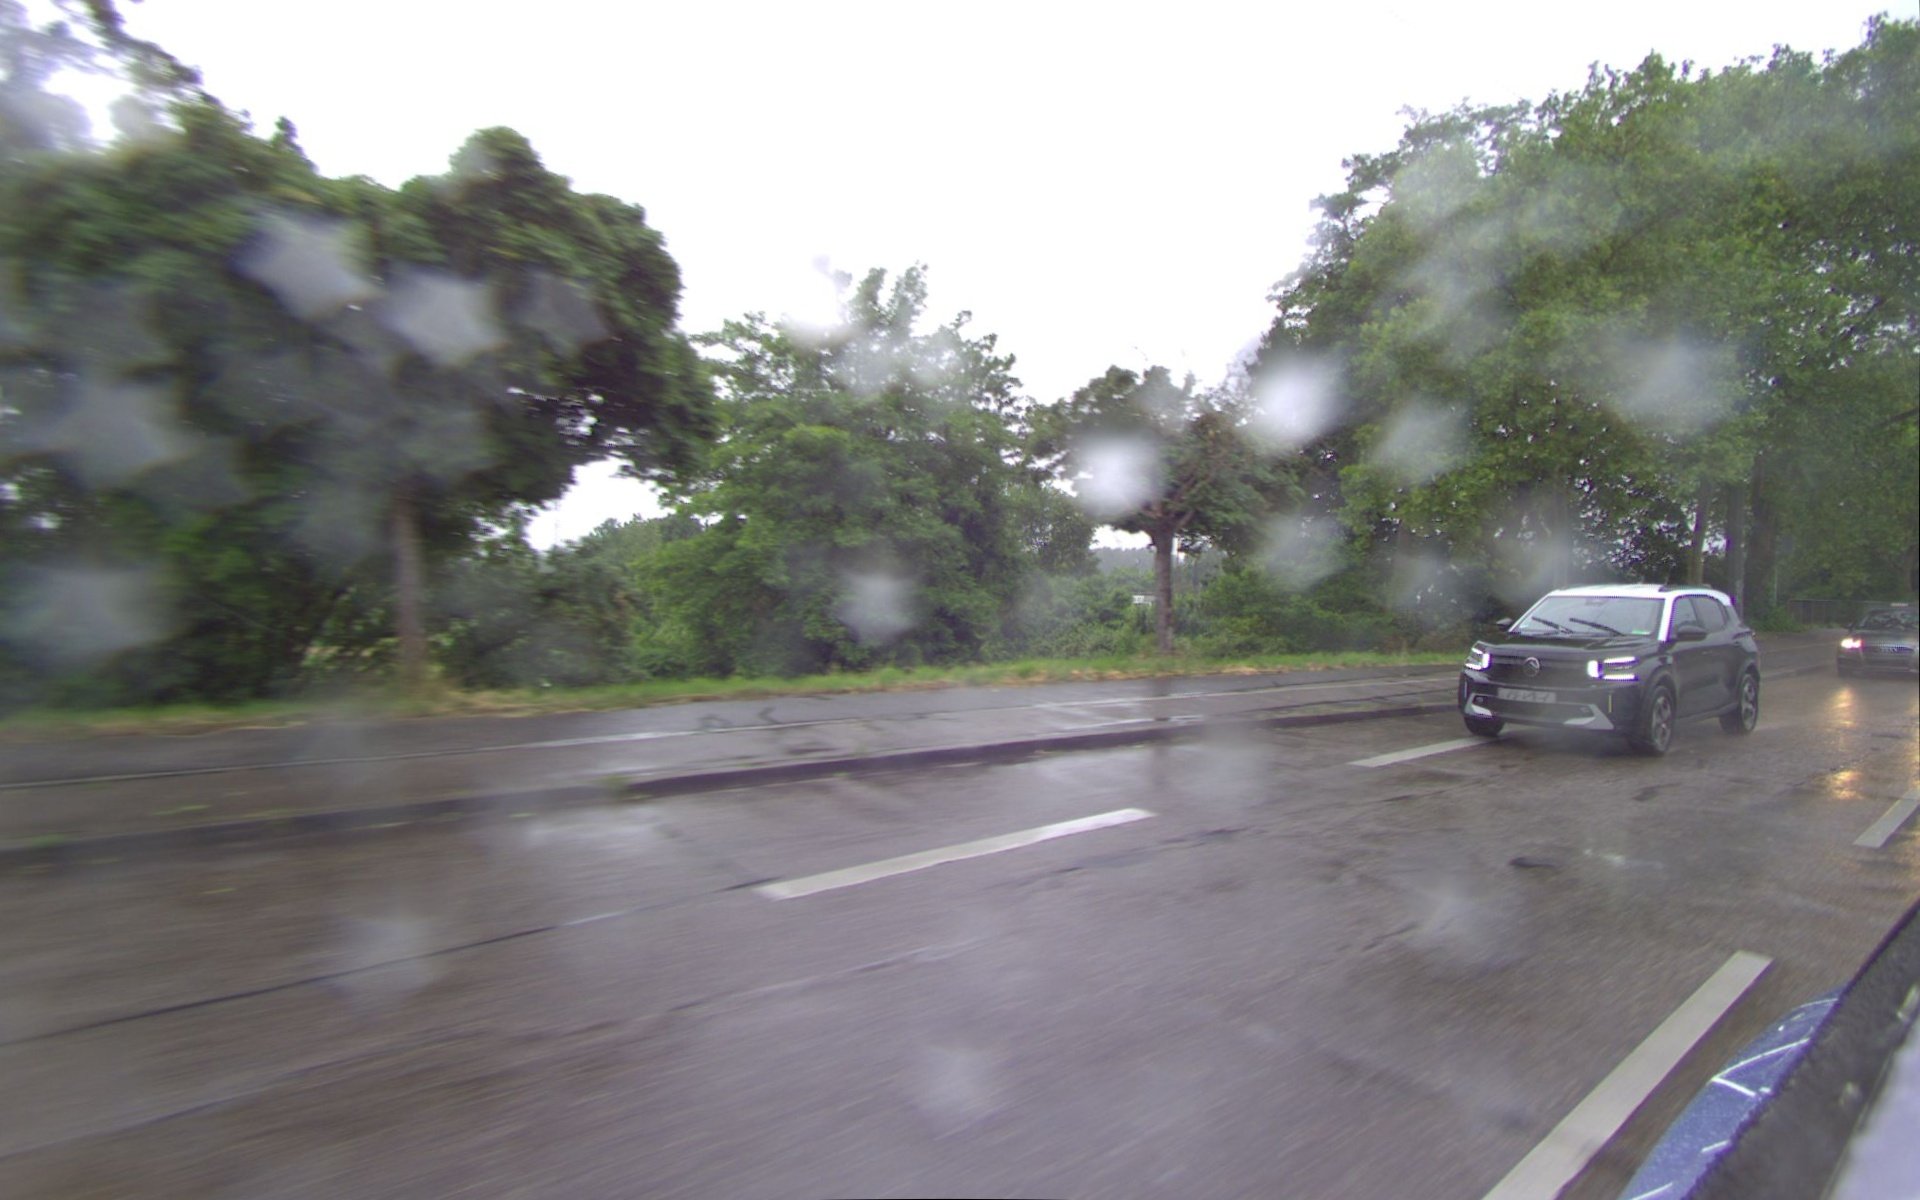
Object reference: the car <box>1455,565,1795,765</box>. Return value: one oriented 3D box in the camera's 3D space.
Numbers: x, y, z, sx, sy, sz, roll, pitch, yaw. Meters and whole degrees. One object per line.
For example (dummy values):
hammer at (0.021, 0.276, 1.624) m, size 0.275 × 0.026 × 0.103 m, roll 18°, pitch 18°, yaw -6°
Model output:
car at (7.314, 0.583, 10.929) m, size 4.678 × 1.724 × 1.796 m, roll 1°, pitch 0°, yaw -40°

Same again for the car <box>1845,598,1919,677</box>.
car at (19.336, 0.736, 20.296) m, size 3.928 × 1.445 × 1.783 m, roll 1°, pitch 0°, yaw -40°
